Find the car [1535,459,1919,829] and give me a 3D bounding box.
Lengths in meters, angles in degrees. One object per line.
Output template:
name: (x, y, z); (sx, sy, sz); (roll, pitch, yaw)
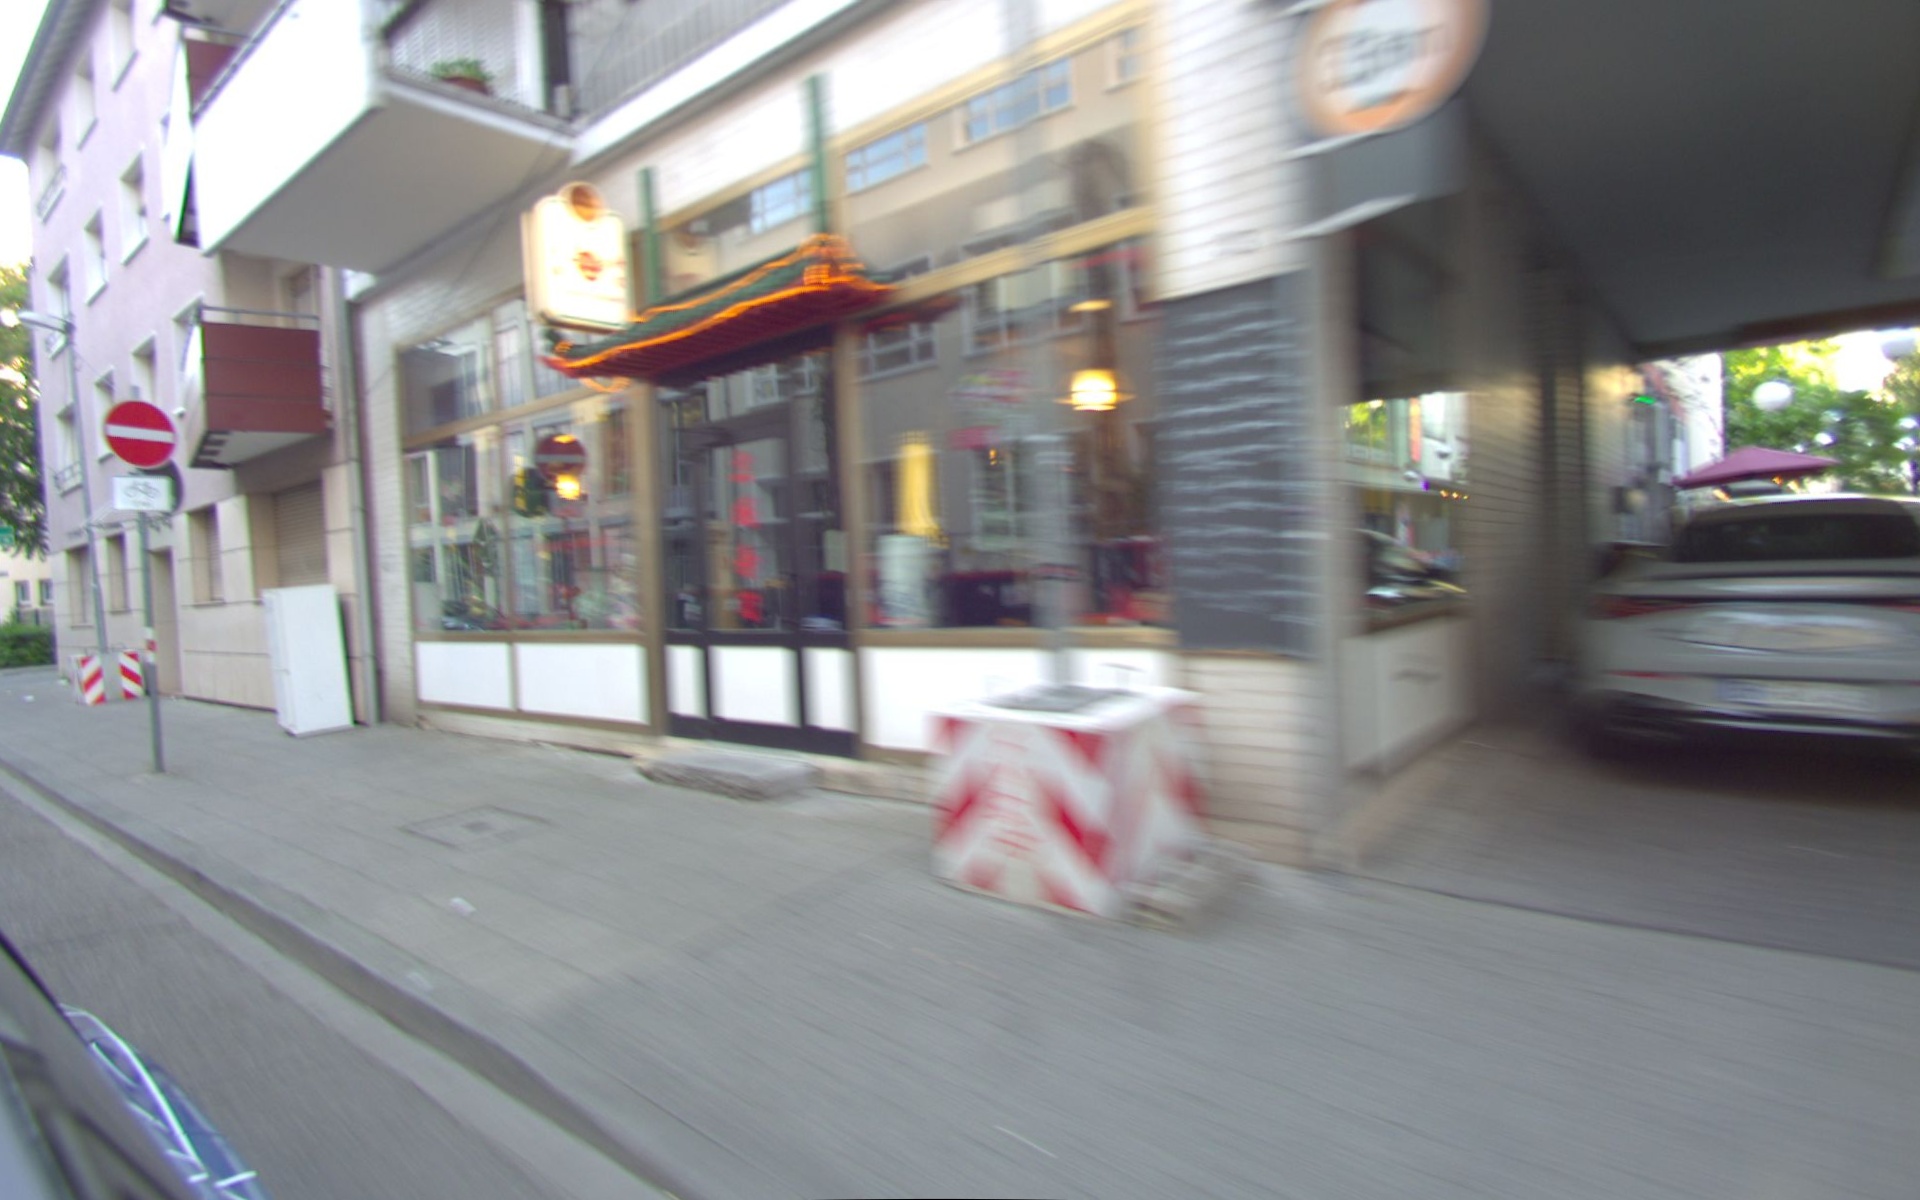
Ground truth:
car: (4.970, 0.067, 5.908); (2.067, 1.474, 4.389); (-3, 2, 39)
